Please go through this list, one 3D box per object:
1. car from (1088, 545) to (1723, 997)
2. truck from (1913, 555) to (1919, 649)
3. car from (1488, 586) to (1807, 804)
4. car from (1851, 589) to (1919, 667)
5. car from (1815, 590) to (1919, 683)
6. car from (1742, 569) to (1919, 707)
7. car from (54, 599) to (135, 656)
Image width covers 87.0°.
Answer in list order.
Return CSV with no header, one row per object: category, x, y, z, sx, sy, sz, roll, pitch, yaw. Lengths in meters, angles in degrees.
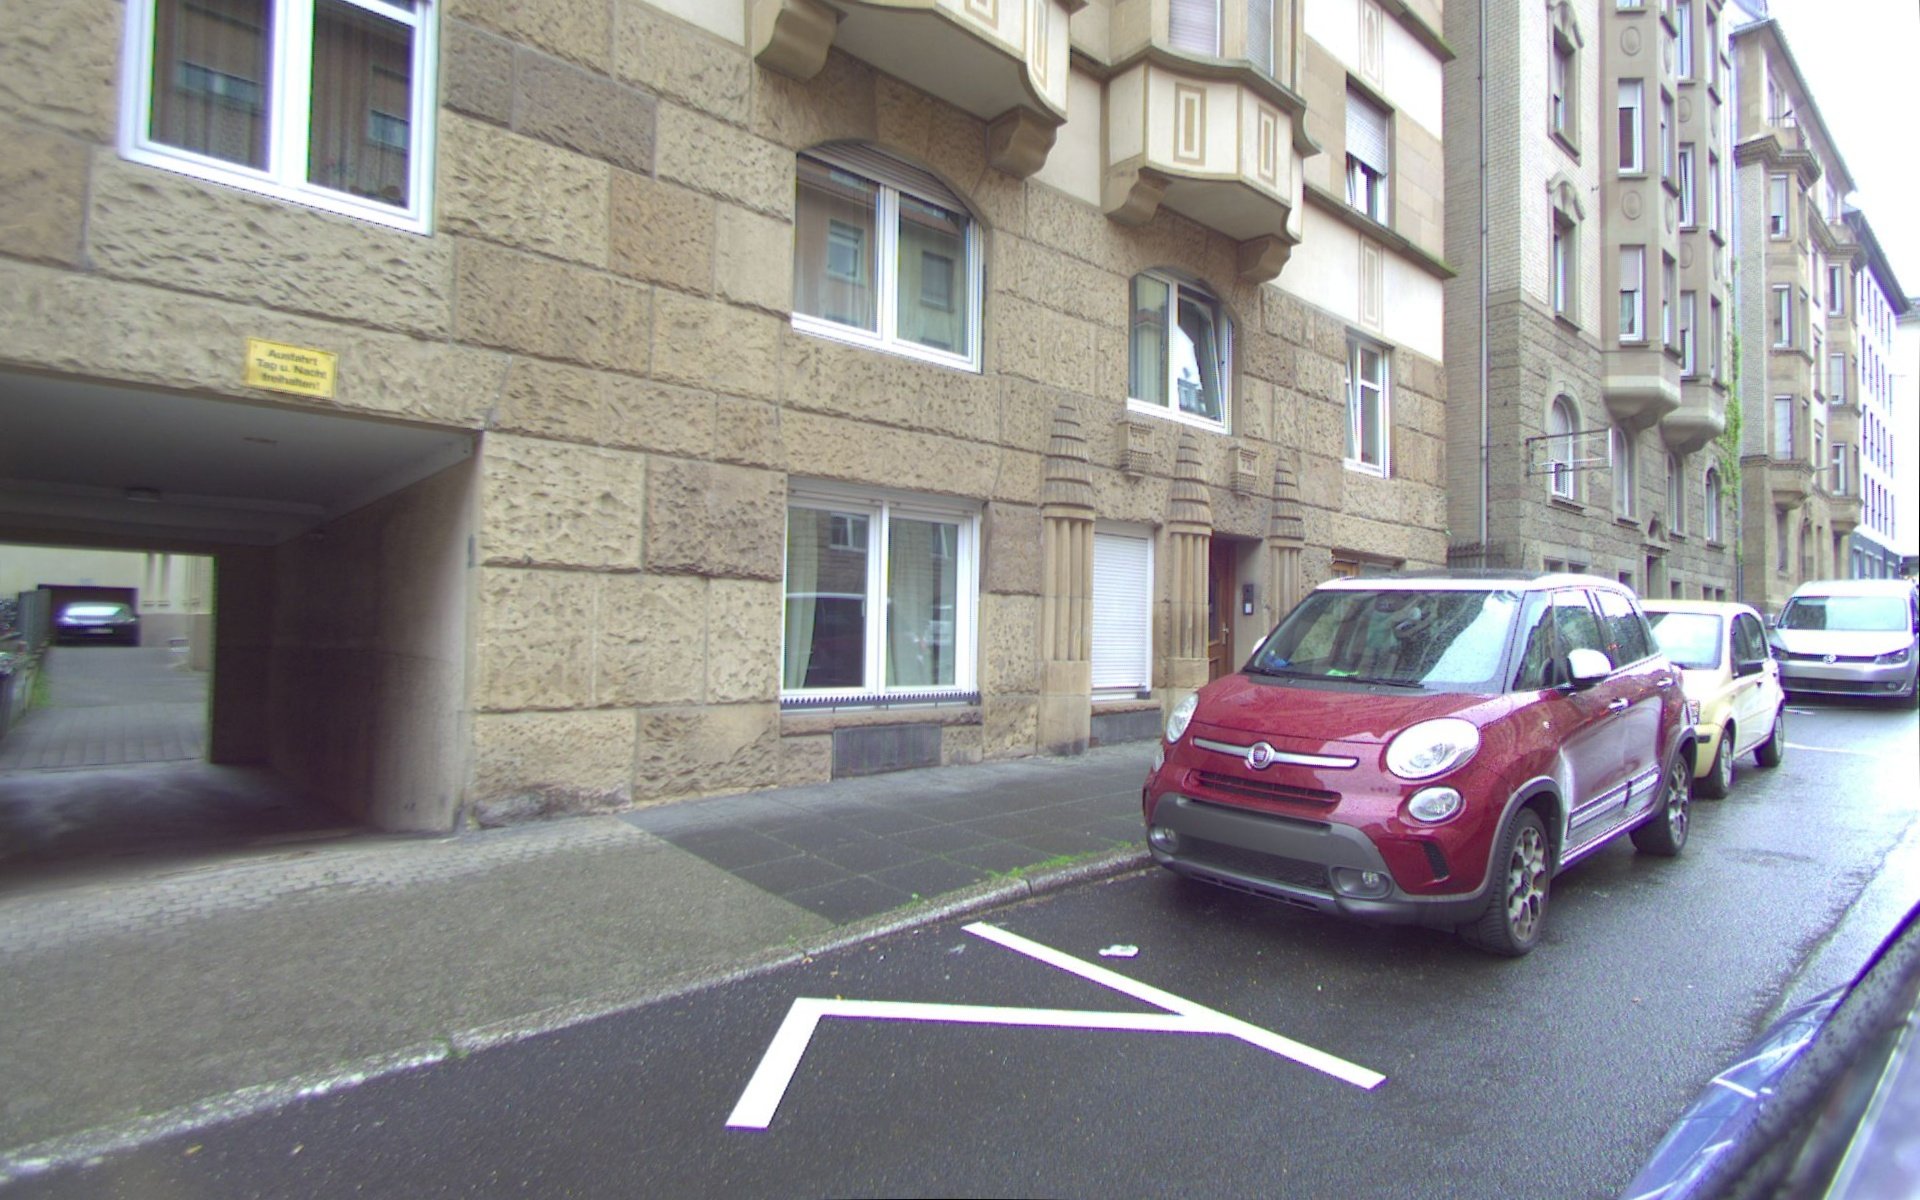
car,2.686,0.617,5.638,3.932,1.619,1.804,0,-1,-42
truck,29.171,0.032,28.885,6.036,2.568,2.234,0,-1,-41
car,6.207,0.681,8.999,3.517,1.549,1.578,0,-1,-43
car,20.485,0.555,21.447,3.860,1.549,1.889,0,-1,-41
car,17.179,0.607,18.508,3.934,1.549,1.994,0,-1,-45
car,13.771,0.507,15.517,4.380,1.825,1.966,0,-1,-41
car,-25.177,0.747,29.465,1.692,1.541,4.098,0,-1,-41
